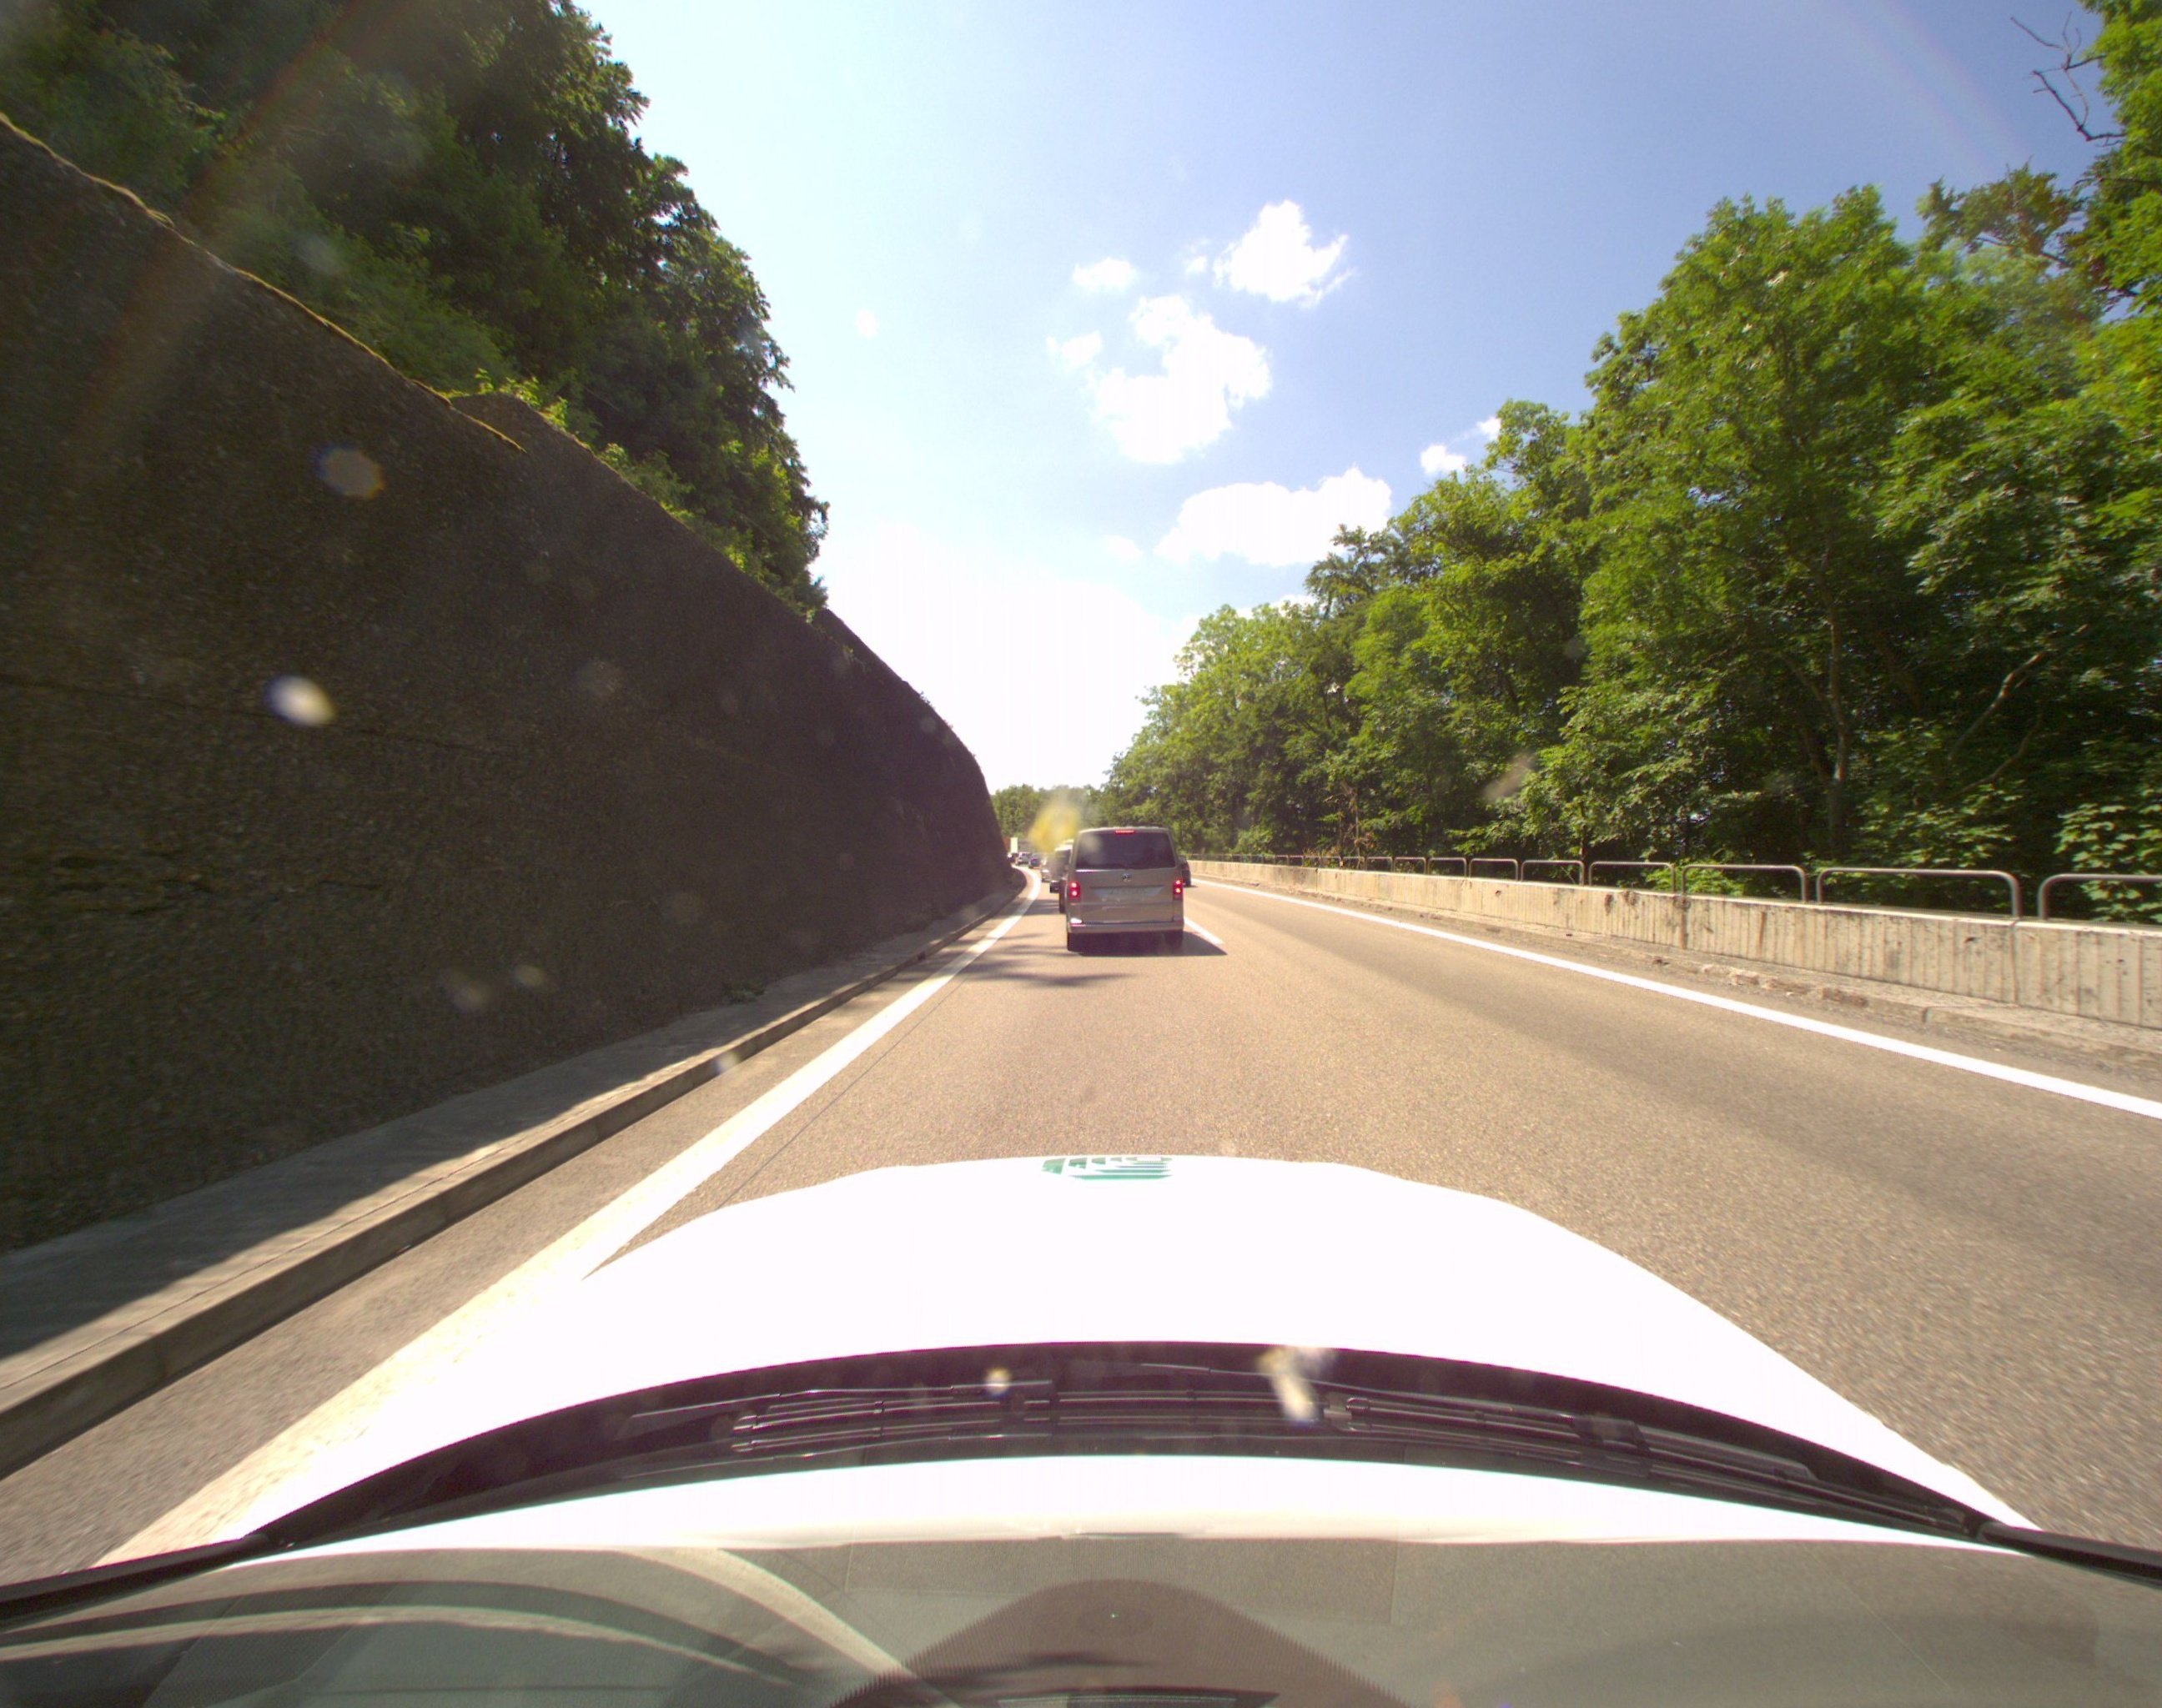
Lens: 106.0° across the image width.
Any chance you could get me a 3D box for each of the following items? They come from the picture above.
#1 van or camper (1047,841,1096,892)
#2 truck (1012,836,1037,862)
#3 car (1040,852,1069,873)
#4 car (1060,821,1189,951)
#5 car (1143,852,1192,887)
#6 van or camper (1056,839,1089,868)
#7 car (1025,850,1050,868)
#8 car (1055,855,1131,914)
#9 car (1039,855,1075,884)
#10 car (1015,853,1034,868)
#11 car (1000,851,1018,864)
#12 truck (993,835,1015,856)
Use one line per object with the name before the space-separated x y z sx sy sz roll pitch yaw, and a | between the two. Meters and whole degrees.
van or camper | -0.469 0.490 33.852 1.849 1.942 4.161 -1 0 -3
truck | -8.575 -0.697 123.070 2.926 3.687 7.696 -1 0 -10
car | -2.037 0.588 61.157 1.861 1.486 3.991 -1 0 -6
car | 0.646 0.478 14.637 1.934 1.931 4.693 -1 0 0
car | 3.764 0.638 36.029 1.680 1.458 3.998 0 0 -1
van or camper | -0.966 -0.088 85.095 2.602 2.855 6.318 3 0 -8
car | -4.023 0.463 74.758 1.858 1.619 3.986 0 0 -10
car | 0.246 0.770 22.750 1.900 1.489 4.376 0 0 -2
car | -1.284 0.819 44.889 1.765 1.472 4.001 0 0 1
car | -6.199 0.677 89.663 1.989 1.618 3.995 -1 0 -4
car | -8.967 0.464 101.016 1.753 1.571 3.753 0 0 -14
truck | -13.988 -1.602 146.795 3.164 3.468 8.193 4 0 -10
